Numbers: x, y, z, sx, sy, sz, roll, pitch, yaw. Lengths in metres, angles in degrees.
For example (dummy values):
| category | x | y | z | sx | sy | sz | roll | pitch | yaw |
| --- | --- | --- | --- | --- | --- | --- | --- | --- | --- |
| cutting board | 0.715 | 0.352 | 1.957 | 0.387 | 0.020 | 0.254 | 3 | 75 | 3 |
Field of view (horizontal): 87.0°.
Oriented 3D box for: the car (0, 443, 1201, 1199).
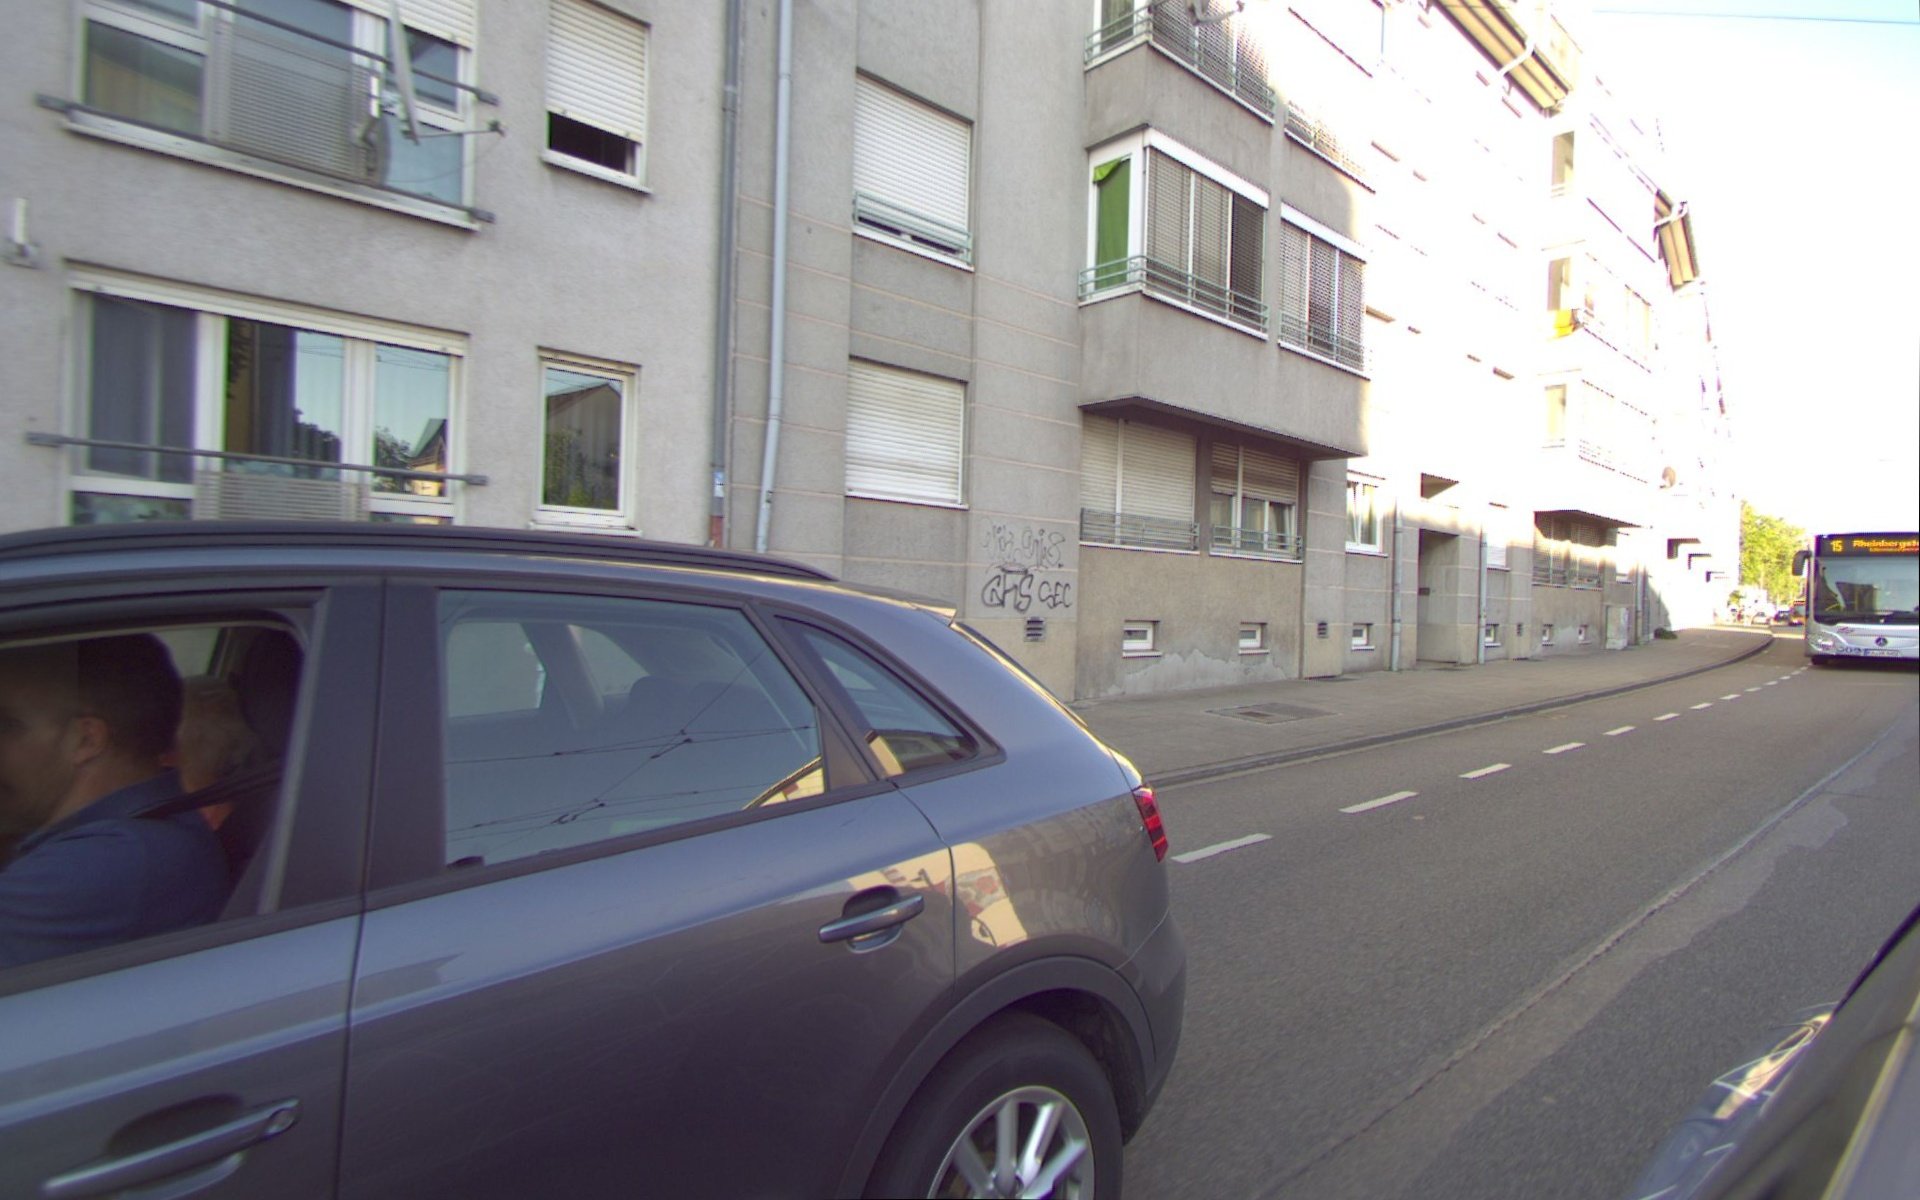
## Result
| category | x | y | z | sx | sy | sz | roll | pitch | yaw |
| --- | --- | --- | --- | --- | --- | --- | --- | --- | --- |
| car | -1.607 | 0.634 | 1.435 | 3.996 | 1.607 | 1.770 | 1 | 1 | -41 |

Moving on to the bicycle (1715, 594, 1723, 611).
| category | x | y | z | sx | sy | sz | roll | pitch | yaw |
| --- | --- | --- | --- | --- | --- | --- | --- | --- | --- |
| bicycle | 44.759 | 0.170 | 59.713 | 0.278 | 0.983 | 1.706 | 5 | 3 | 38 |

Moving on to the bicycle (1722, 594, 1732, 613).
| category | x | y | z | sx | sy | sz | roll | pitch | yaw |
| --- | --- | --- | --- | --- | --- | --- | --- | --- | --- |
| bicycle | 45.068 | 0.211 | 59.442 | 0.359 | 1.044 | 1.706 | 5 | 3 | 38 |

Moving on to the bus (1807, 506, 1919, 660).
| category | x | y | z | sx | sy | sz | roll | pitch | yaw |
| --- | --- | --- | --- | --- | --- | --- | --- | --- | --- |
| bus | 22.835 | -0.326 | 24.500 | 2.725 | 3.116 | 10.428 | 0 | 0 | 45 |

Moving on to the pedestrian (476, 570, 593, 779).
| category | x | y | z | sx | sy | sz | roll | pitch | yaw |
| --- | --- | --- | --- | --- | --- | --- | --- | --- | --- |
| pedestrian | -2.959 | 0.480 | 7.036 | 0.599 | 1.361 | 0.514 | -1 | 3 | -44 |

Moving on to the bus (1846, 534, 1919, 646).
| category | x | y | z | sx | sy | sz | roll | pitch | yaw |
| --- | --- | --- | --- | --- | --- | --- | --- | --- | --- |
| bus | 30.169 | -0.259 | 31.951 | 2.706 | 3.116 | 10.428 | 0 | 0 | 45 |
